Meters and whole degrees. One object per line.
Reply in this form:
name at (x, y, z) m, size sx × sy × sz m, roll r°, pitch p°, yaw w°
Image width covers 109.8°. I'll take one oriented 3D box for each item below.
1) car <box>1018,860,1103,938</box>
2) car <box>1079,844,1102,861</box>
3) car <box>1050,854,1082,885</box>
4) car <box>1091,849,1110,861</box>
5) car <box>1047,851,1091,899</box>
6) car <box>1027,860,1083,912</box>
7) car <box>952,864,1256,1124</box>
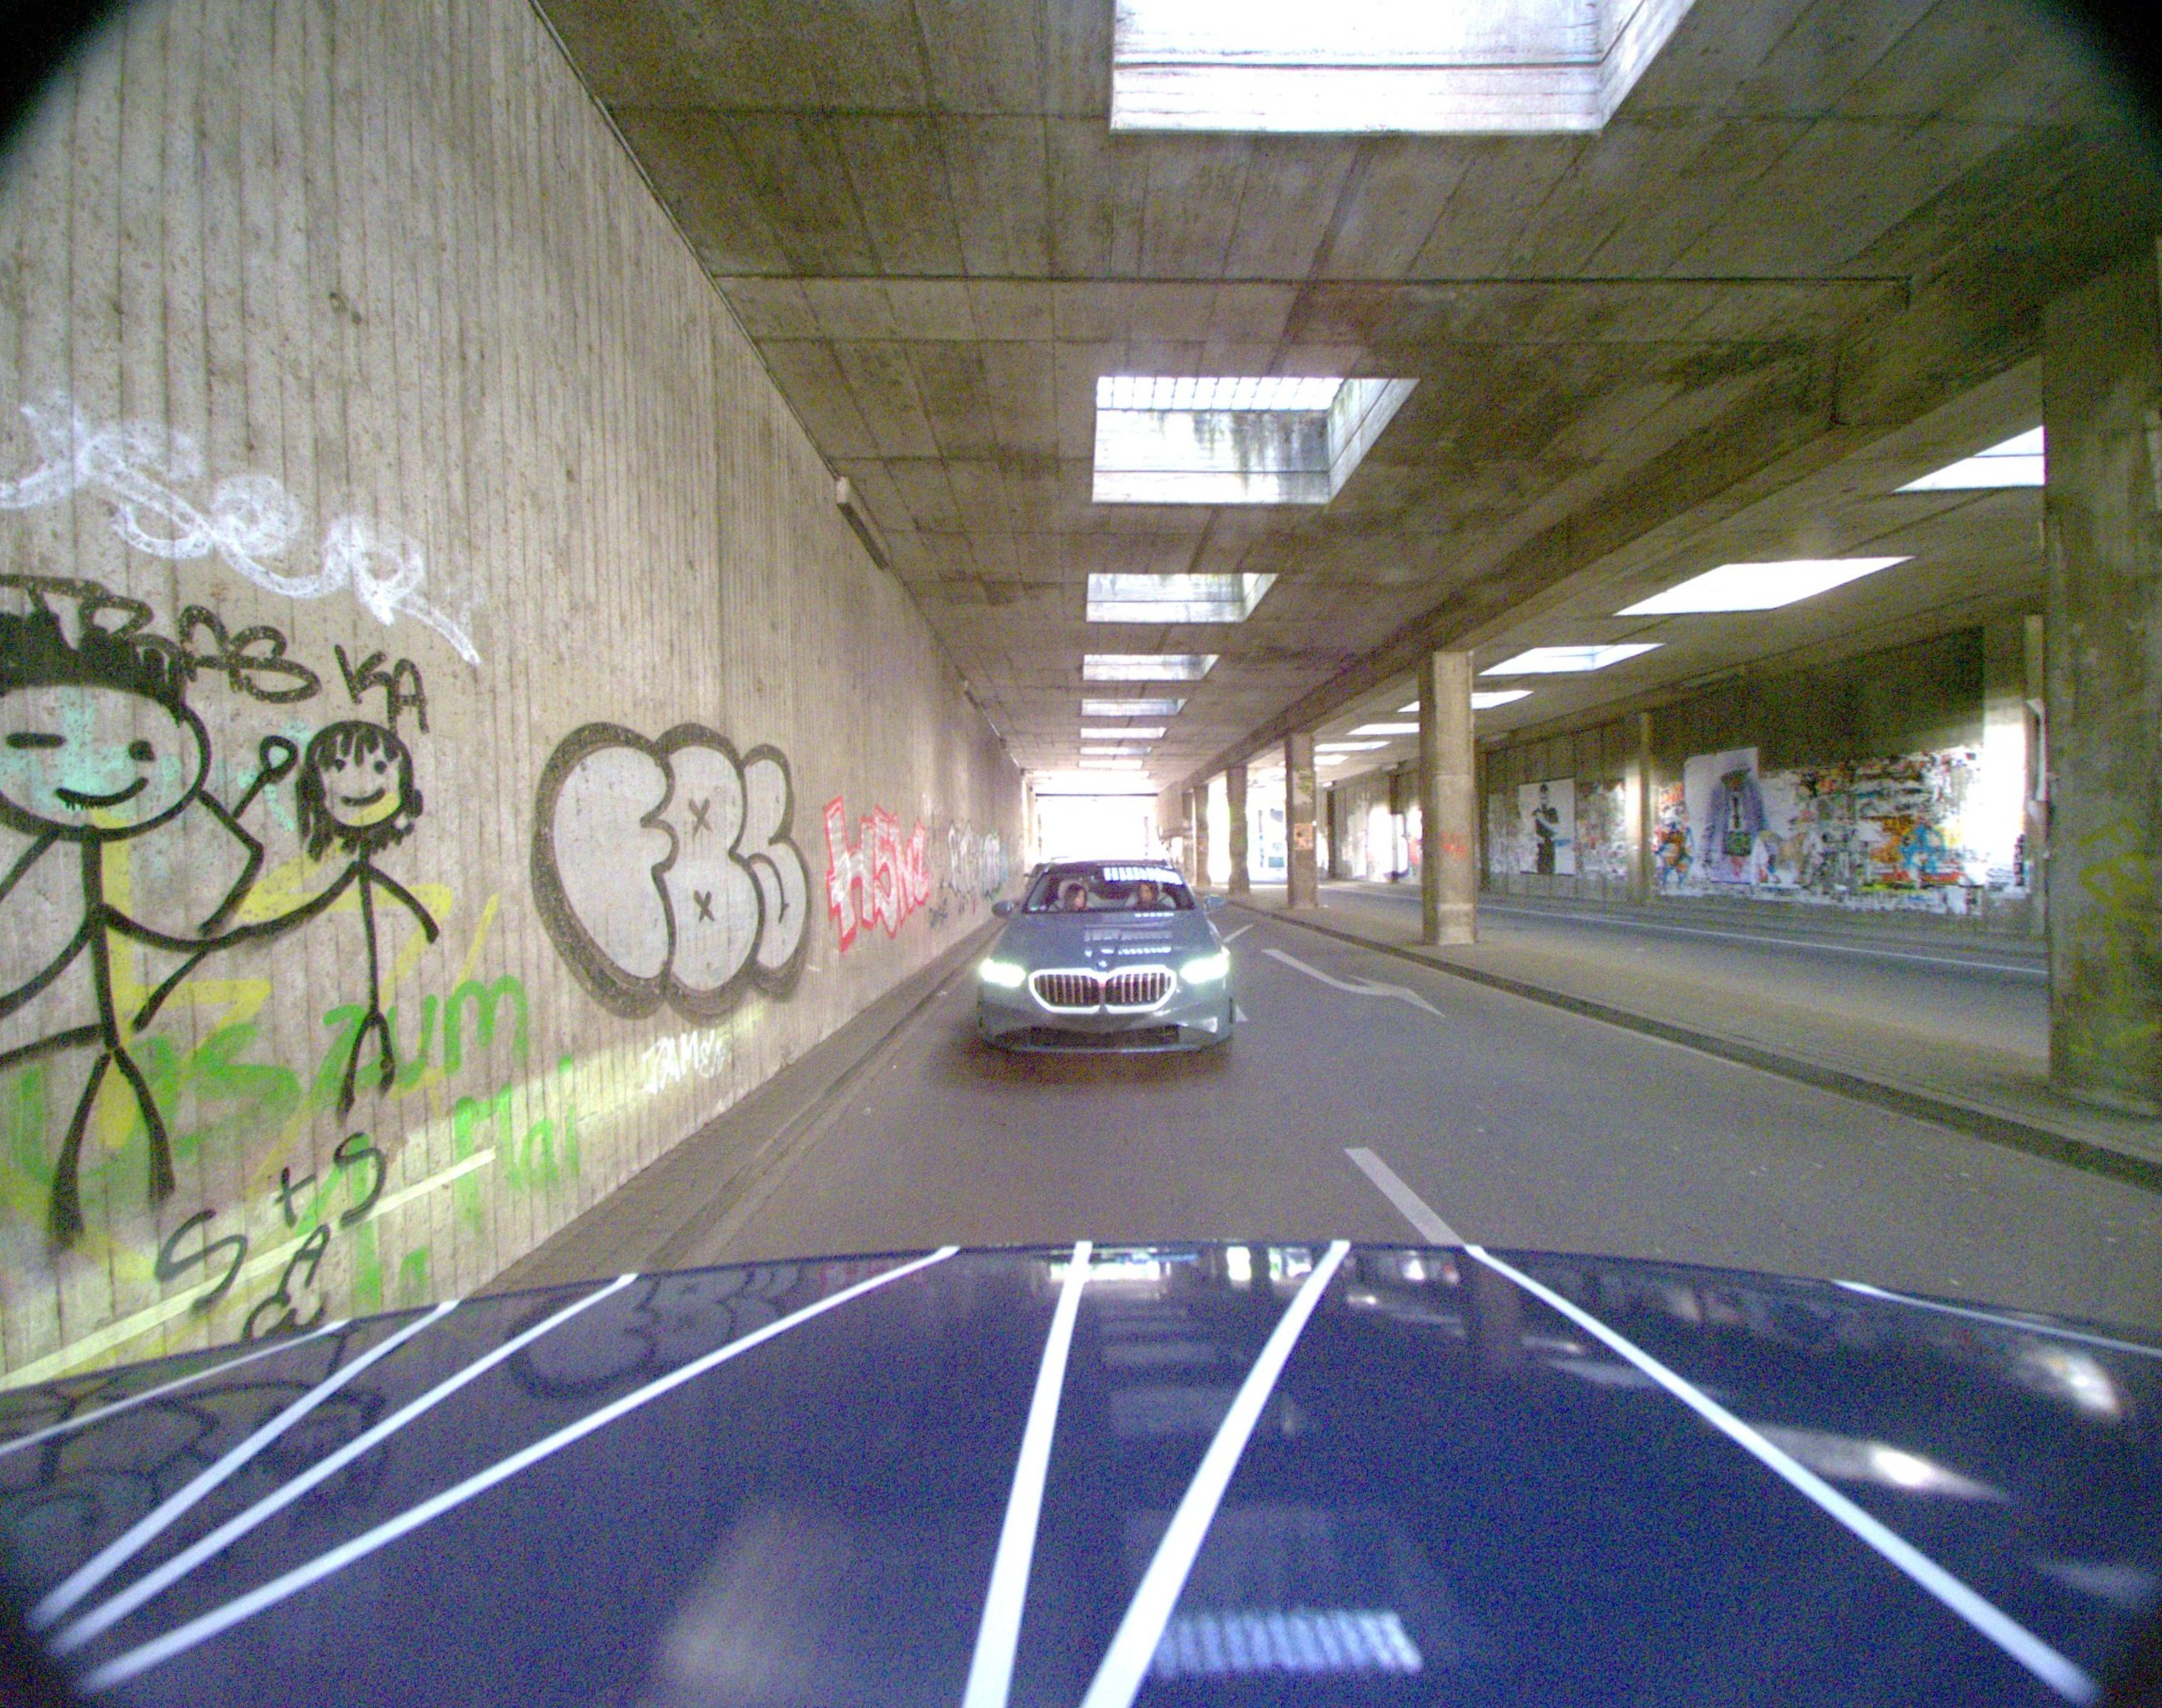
car at (-0.419, 0.924, 17.291) m, size 1.679 × 1.516 × 3.969 m, roll -2°, pitch 0°, yaw 0°
car at (1.294, -0.189, 103.663) m, size 2.161 × 2.150 × 4.785 m, roll -2°, pitch 0°, yaw -12°
car at (-0.798, 0.809, 41.251) m, size 1.592 × 1.562 × 3.694 m, roll -2°, pitch 0°, yaw 0°
car at (2.491, 0.141, 97.971) m, size 1.741 × 1.519 × 3.786 m, roll -2°, pitch 0°, yaw -9°
car at (-0.455, 0.774, 29.924) m, size 1.592 × 1.711 × 3.694 m, roll -2°, pitch 0°, yaw 0°
car at (-0.754, 0.952, 23.917) m, size 1.592 × 1.432 × 3.806 m, roll -2°, pitch 0°, yaw 0°
car at (0.133, 0.909, 7.282) m, size 1.861 × 1.516 × 5.042 m, roll -2°, pitch 0°, yaw 0°
